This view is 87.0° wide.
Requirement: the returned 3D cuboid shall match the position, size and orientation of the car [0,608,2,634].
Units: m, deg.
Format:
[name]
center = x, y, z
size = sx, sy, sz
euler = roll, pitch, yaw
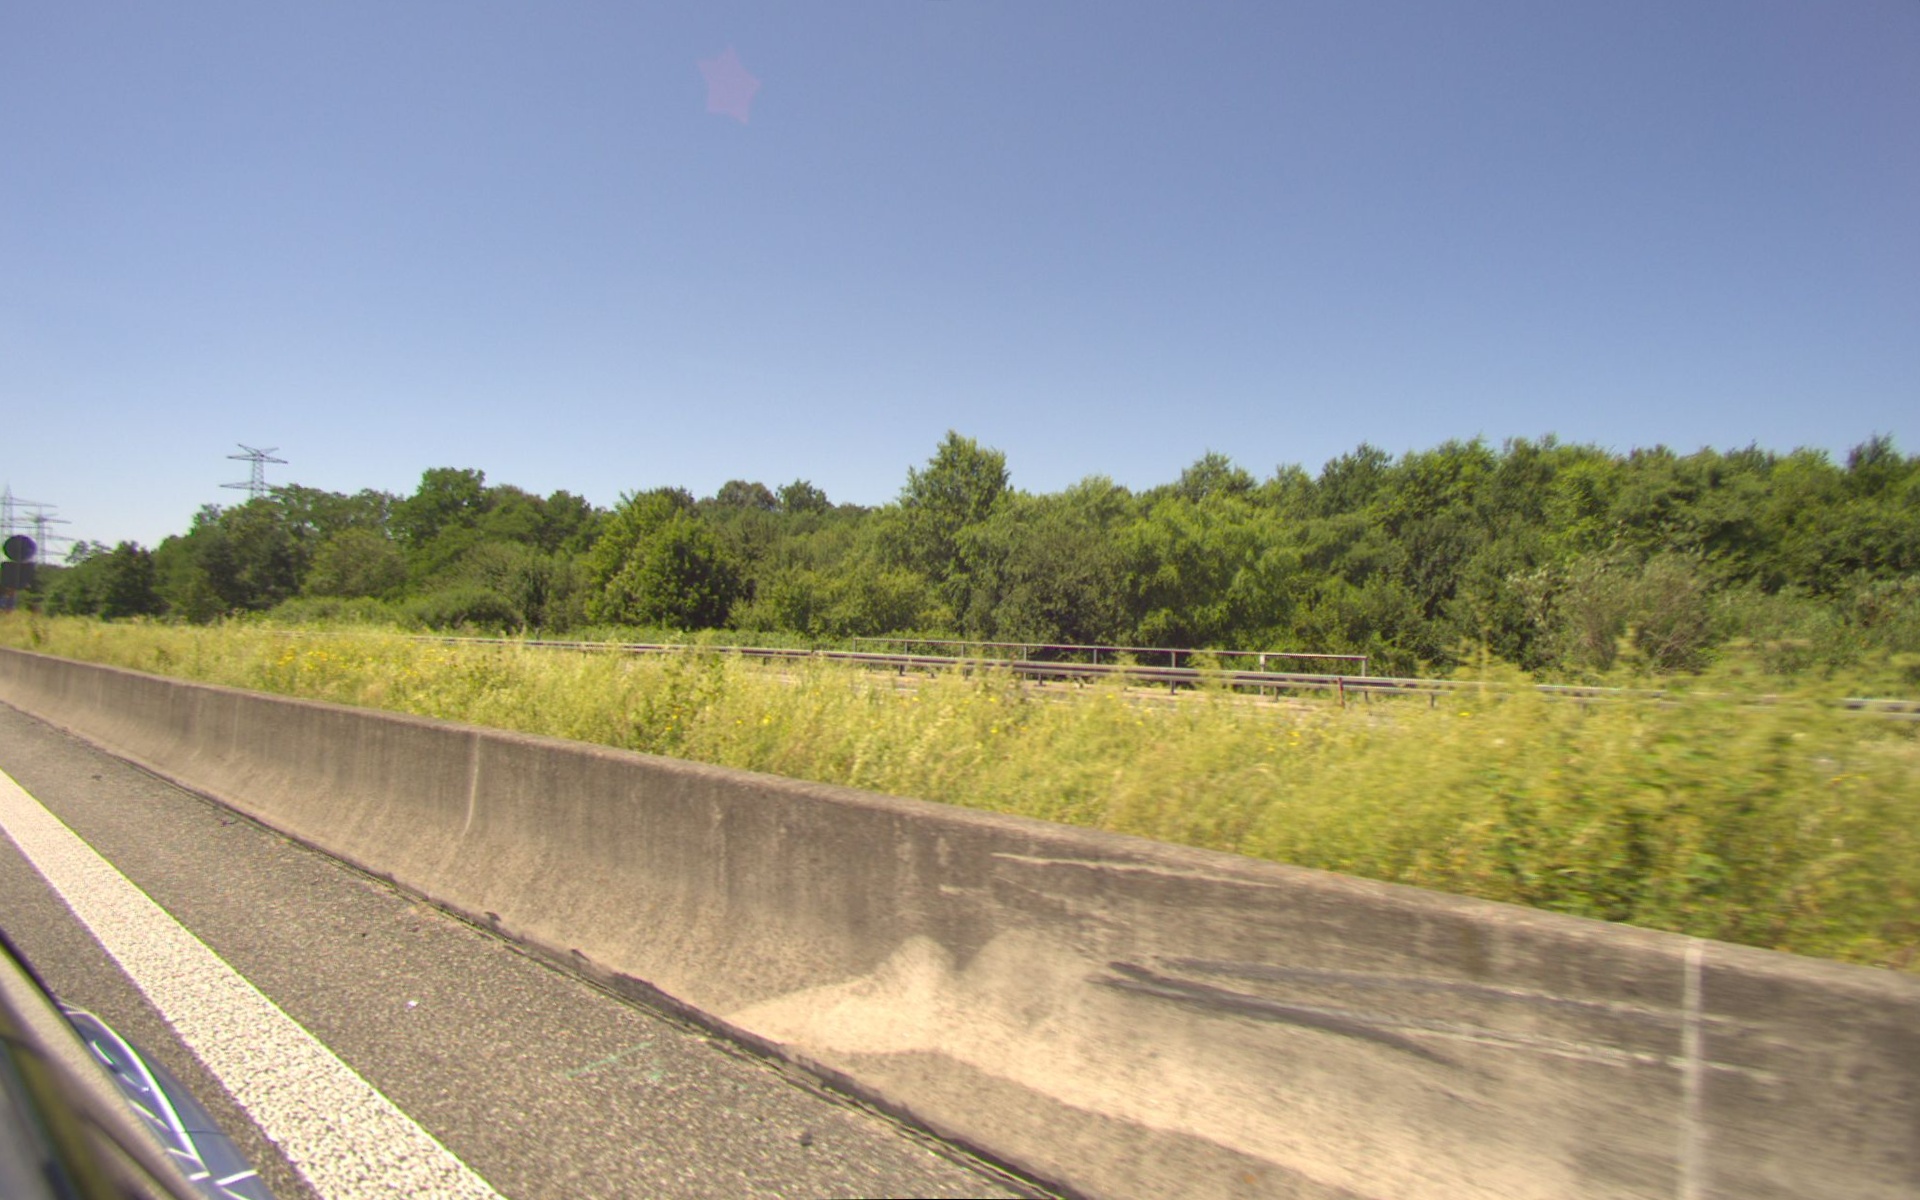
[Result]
[car]
center = -77.255, 1.620, 79.703
size = 6.219, 2.029, 1.973
euler = -1, -4, 41
